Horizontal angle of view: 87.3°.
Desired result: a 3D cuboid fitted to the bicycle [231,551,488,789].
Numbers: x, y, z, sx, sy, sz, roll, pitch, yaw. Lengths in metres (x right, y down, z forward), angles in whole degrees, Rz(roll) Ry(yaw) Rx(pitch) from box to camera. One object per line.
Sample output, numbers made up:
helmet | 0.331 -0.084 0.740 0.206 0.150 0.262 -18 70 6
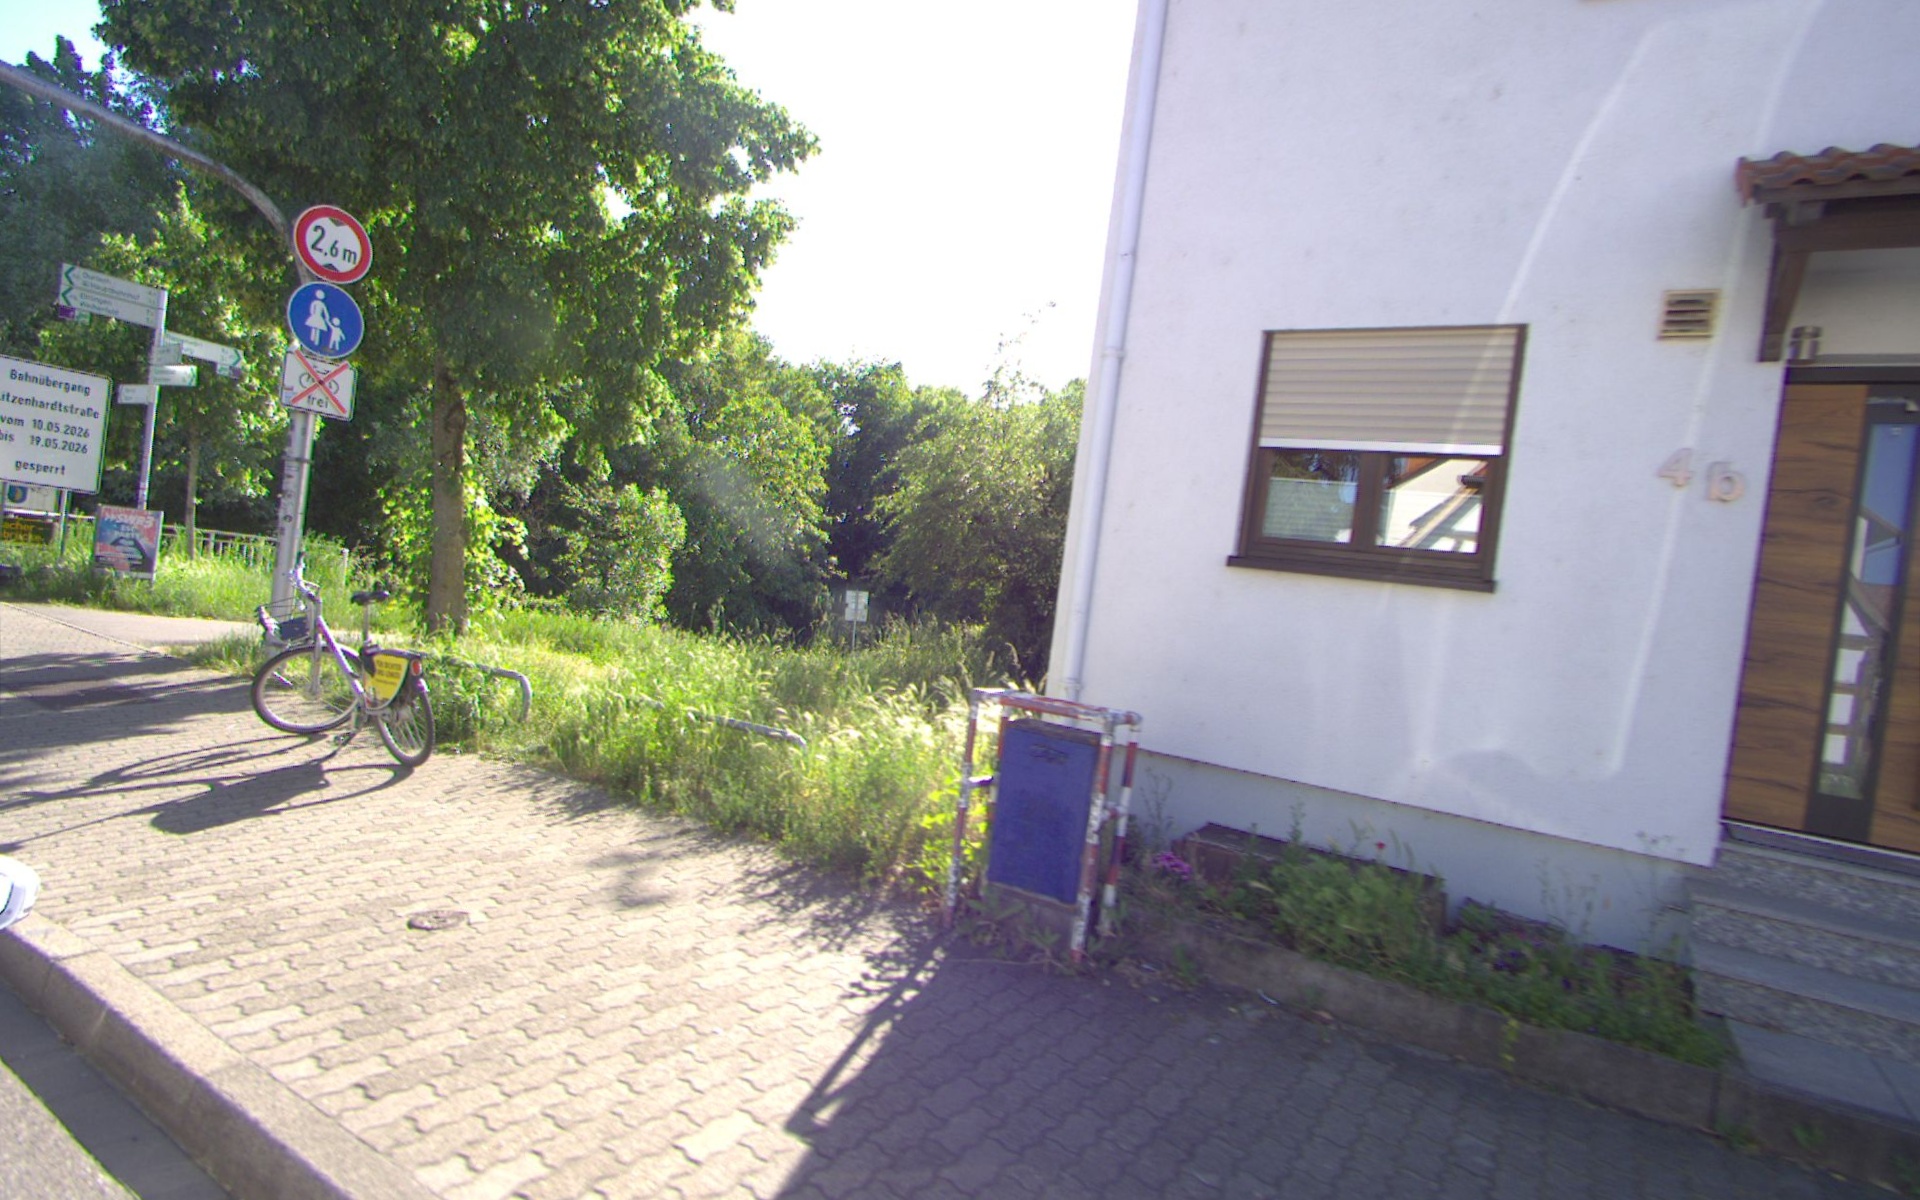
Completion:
bicycle | -3.632 0.357 6.051 1.514 1.174 0.688 7 5 31
